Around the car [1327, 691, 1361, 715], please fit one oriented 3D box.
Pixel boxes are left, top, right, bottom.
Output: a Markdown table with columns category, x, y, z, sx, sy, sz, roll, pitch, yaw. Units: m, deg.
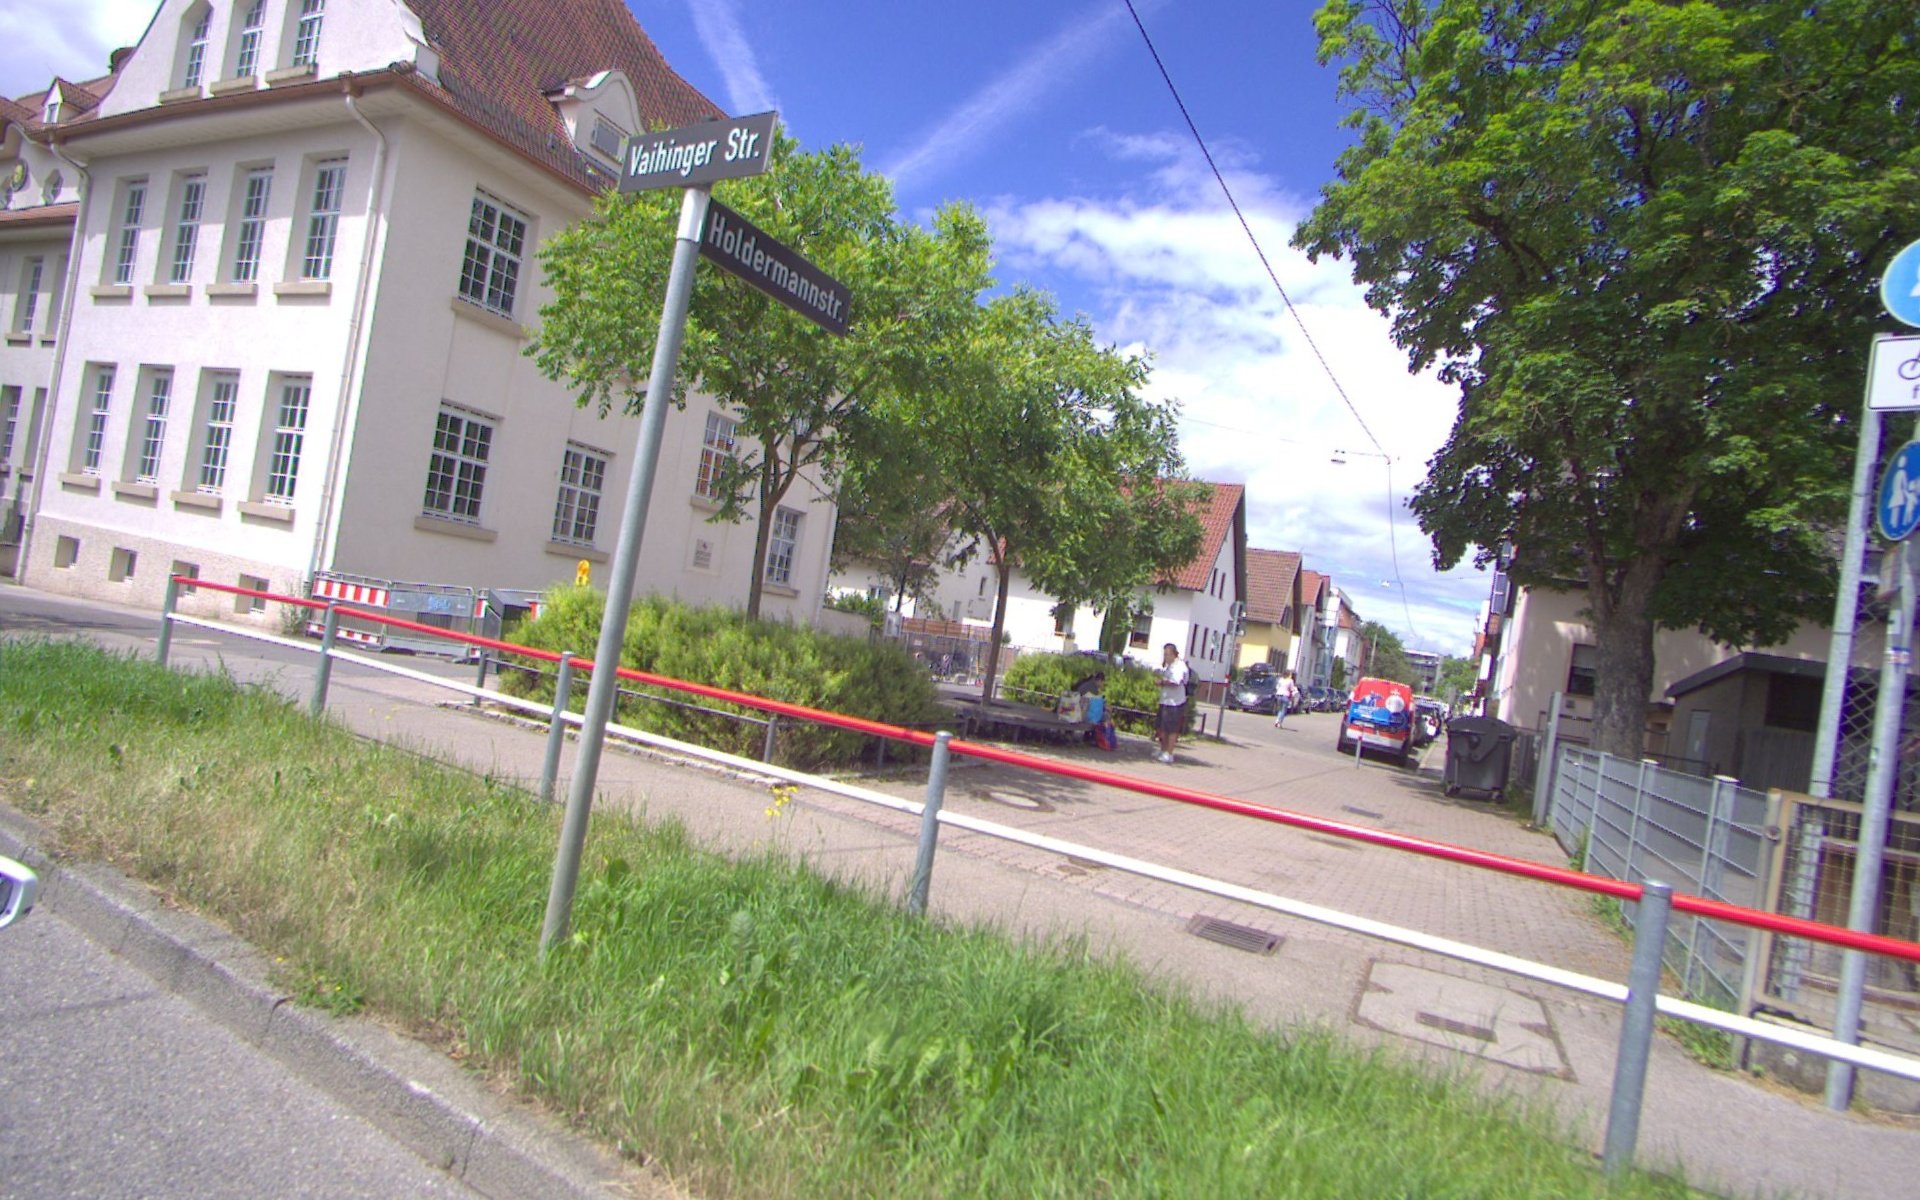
| category | x | y | z | sx | sy | sz | roll | pitch | yaw |
| --- | --- | --- | --- | --- | --- | --- | --- | --- | --- |
| car | 26.881 | 7.203 | 70.343 | 1.820 | 1.414 | 4.000 | 7 | -2 | 26 |

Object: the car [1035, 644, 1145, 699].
| category | x | y | z | sx | sy | sz | roll | pitch | yaw |
| --- | --- | --- | --- | --- | --- | --- | --- | --- | --- |
| car | 5.155 | 2.847 | 40.004 | 3.799 | 1.651 | 1.776 | 6 | -2 | 29 |

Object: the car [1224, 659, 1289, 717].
| category | x | y | z | sx | sy | sz | roll | pitch | yaw |
| --- | --- | --- | --- | --- | --- | --- | --- | --- | --- |
| car | 12.335 | 3.655 | 41.696 | 1.820 | 2.036 | 4.000 | 7 | -2 | 26 |

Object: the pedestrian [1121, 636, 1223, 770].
| category | x | y | z | sx | sy | sz | roll | pitch | yaw |
| --- | --- | --- | --- | --- | --- | --- | --- | --- | --- |
| pedestrian | 3.314 | 1.589 | 15.688 | 1.126 | 1.839 | 0.751 | 11 | 0 | 22 |

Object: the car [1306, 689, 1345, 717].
| category | x | y | z | sx | sy | sz | roll | pitch | yaw |
| --- | --- | --- | --- | --- | --- | --- | --- | --- | --- |
| car | 22.927 | 6.441 | 63.014 | 1.820 | 1.414 | 4.000 | 7 | -2 | 26 |

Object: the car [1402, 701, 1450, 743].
| category | x | y | z | sx | sy | sz | roll | pitch | yaw |
| --- | --- | --- | --- | --- | --- | --- | --- | --- | --- |
| car | 19.730 | 5.191 | 42.493 | 1.573 | 1.435 | 4.003 | 7 | -4 | 28 |

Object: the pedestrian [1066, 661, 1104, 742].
| category | x | y | z | sx | sy | sz | roll | pitch | yaw |
| --- | --- | --- | --- | --- | --- | --- | --- | --- | --- |
| pedestrian | 2.031 | 1.647 | 16.383 | 0.453 | 1.244 | 0.406 | 7 | -1 | 6 |

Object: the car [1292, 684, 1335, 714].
| category | x | y | z | sx | sy | sz | roll | pitch | yaw |
| --- | --- | --- | --- | --- | --- | --- | --- | --- | --- |
| car | 20.711 | 5.802 | 58.808 | 1.820 | 1.414 | 4.000 | 7 | -2 | 26 |

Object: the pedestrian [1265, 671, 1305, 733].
| category | x | y | z | sx | sy | sz | roll | pitch | yaw |
| --- | --- | --- | --- | --- | --- | --- | --- | --- | --- |
| pedestrian | 9.837 | 3.090 | 30.423 | 0.835 | 1.746 | 0.758 | 7 | -3 | 28 |

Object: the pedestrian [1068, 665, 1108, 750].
| category | x | y | z | sx | sy | sz | roll | pitch | yaw |
| --- | --- | --- | --- | --- | --- | --- | --- | --- | --- |
| pedestrian | 1.988 | 1.658 | 15.638 | 0.453 | 1.244 | 0.406 | 7 | -1 | 6 |

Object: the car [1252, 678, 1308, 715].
| category | x | y | z | sx | sy | sz | roll | pitch | yaw |
| --- | --- | --- | --- | --- | --- | --- | --- | --- | --- |
| car | 14.892 | 4.492 | 46.683 | 1.820 | 1.414 | 4.000 | 7 | -2 | 26 |

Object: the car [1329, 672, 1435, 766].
| category | x | y | z | sx | sy | sz | roll | pitch | yaw |
| --- | --- | --- | --- | --- | --- | --- | --- | --- | --- |
| car | 11.699 | 3.257 | 27.731 | 1.966 | 2.037 | 3.997 | 10 | 0 | 30 |

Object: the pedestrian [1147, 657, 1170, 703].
| category | x | y | z | sx | sy | sz | roll | pitch | yaw |
| --- | --- | --- | --- | --- | --- | --- | --- | --- | --- |
| pedestrian | 7.660 | 3.081 | 38.800 | 0.601 | 1.675 | 0.432 | 7 | -1 | 27 |
